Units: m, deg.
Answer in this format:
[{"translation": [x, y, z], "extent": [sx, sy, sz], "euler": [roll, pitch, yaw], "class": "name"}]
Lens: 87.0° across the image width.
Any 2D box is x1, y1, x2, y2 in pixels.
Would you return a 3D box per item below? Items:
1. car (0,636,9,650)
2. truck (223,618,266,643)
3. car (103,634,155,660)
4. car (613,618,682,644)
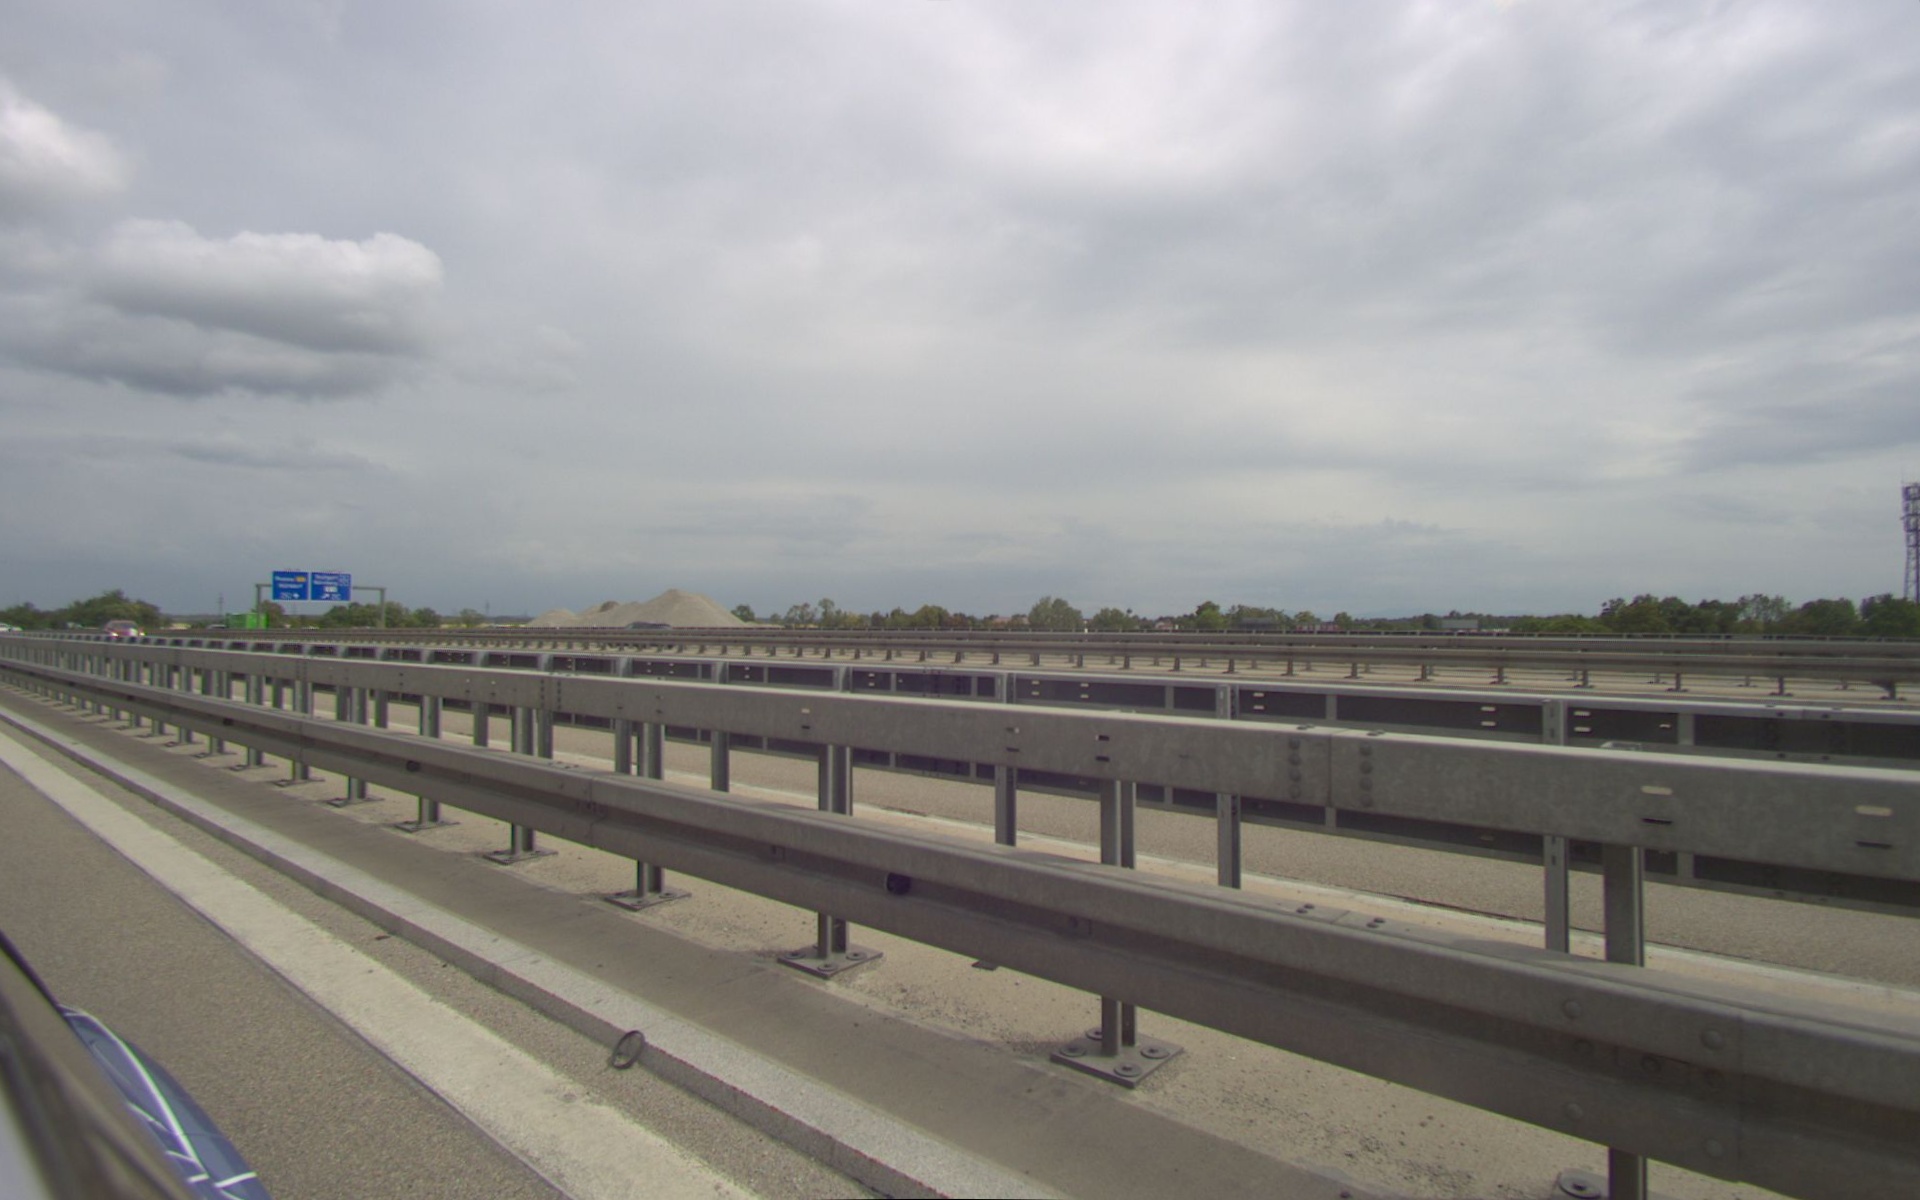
[{"translation": [-136.724, 6.112, 143.805], "extent": [4.464, 2.029, 1.973], "euler": [-2, -1, 42], "class": "car"}, {"translation": [-110.702, 4.802, 156.477], "extent": [10.431, 3.662, 2.982], "euler": [-2, -1, 41], "class": "truck"}, {"translation": [-53.733, 3.027, 65.430], "extent": [4.351, 1.557, 1.801], "euler": [-2, -1, 40], "class": "car"}, {"translation": [-16.773, 1.670, 54.195], "extent": [3.997, 1.337, 1.697], "euler": [-2, -2, 41], "class": "car"}]
